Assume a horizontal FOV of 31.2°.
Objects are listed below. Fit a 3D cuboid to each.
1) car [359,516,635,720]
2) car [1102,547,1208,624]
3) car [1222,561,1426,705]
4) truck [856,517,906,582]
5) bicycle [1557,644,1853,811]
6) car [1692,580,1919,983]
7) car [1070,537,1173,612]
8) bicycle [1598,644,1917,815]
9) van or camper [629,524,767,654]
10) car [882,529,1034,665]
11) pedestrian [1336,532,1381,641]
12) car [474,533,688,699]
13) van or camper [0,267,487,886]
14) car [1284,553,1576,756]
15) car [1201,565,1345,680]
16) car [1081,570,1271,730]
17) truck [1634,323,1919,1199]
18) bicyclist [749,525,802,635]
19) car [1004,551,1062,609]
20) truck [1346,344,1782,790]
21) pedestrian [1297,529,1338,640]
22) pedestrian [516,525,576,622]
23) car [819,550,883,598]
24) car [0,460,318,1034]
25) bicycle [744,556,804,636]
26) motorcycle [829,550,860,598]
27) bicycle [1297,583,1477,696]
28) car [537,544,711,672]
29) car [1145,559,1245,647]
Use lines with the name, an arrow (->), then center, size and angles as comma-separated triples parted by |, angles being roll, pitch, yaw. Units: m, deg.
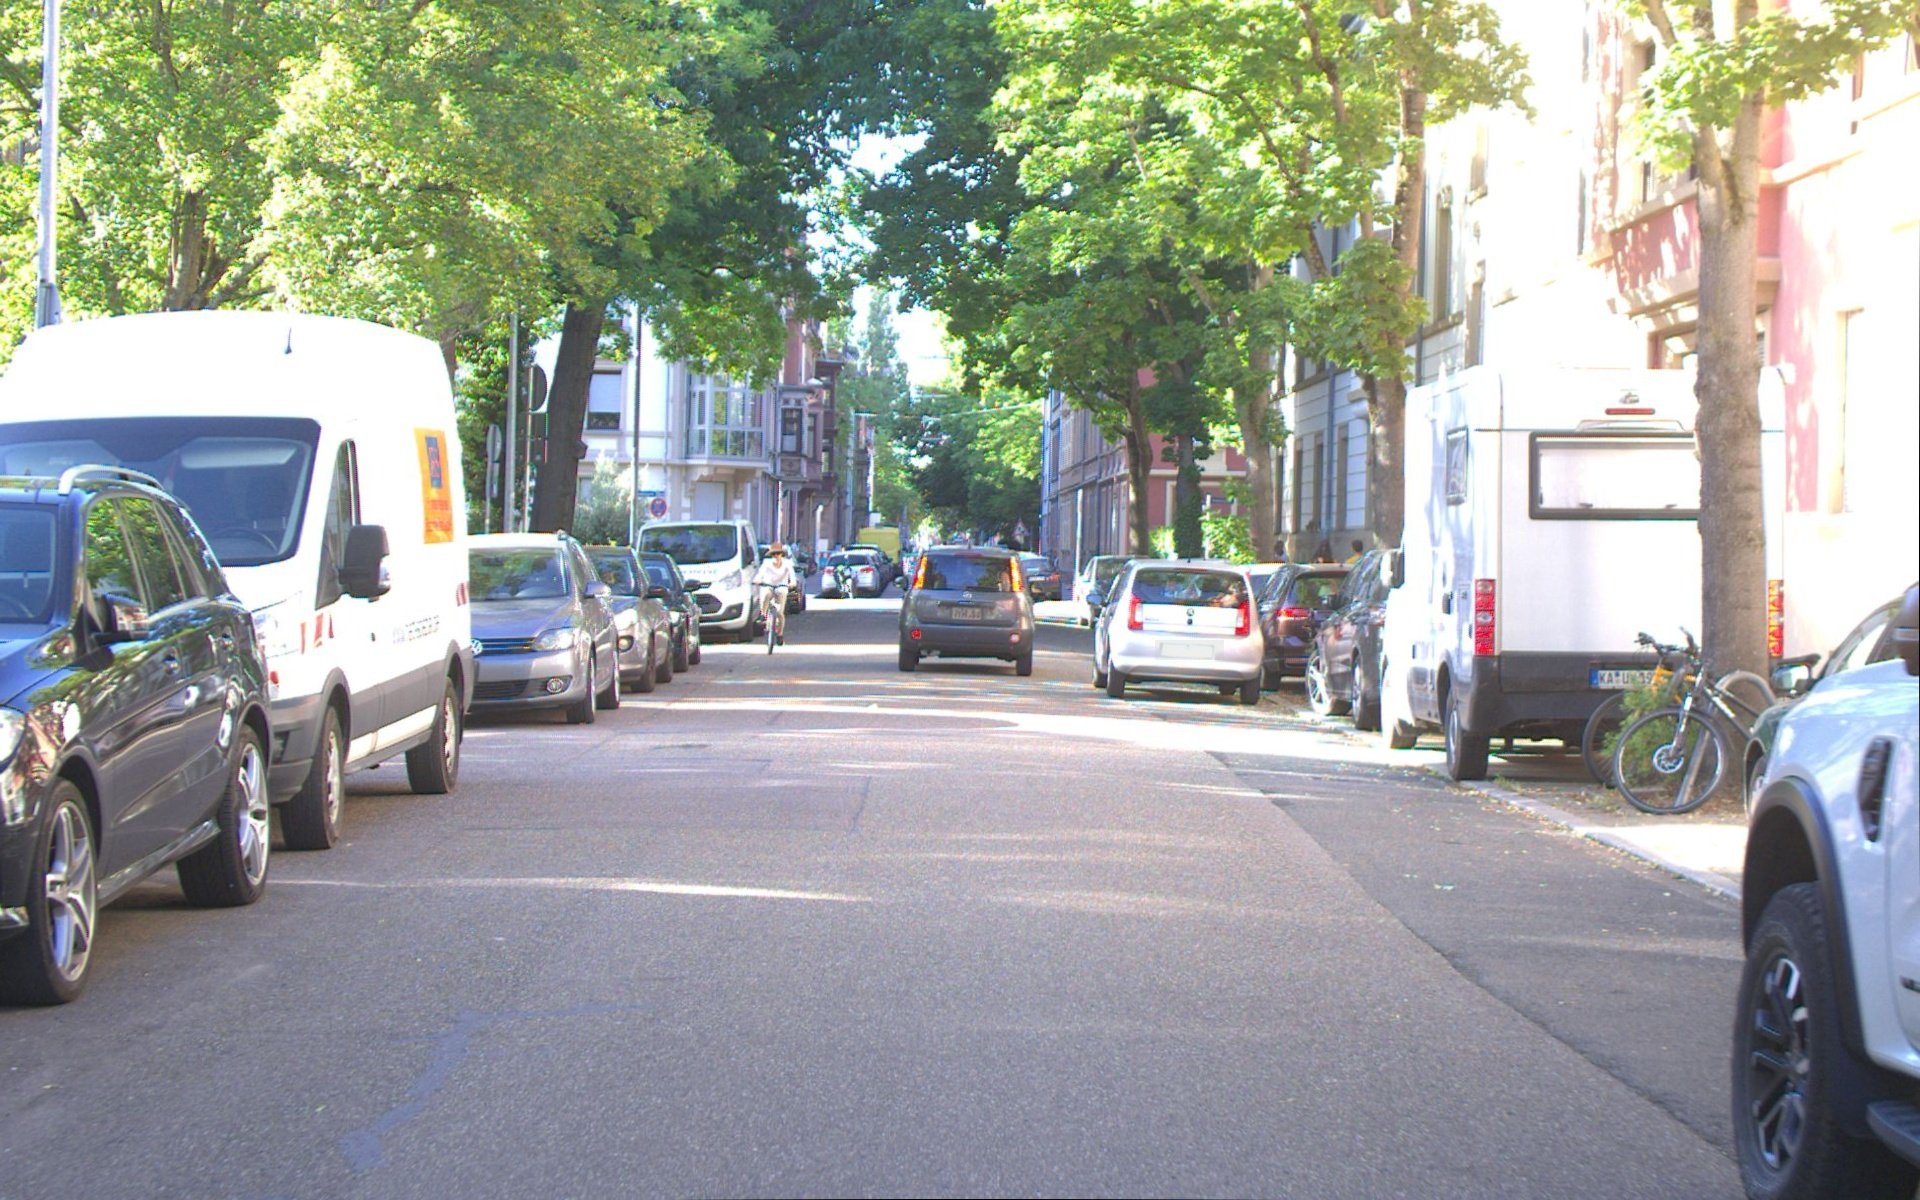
car -> -3.834, 0.105, 29.139 | 1.780, 1.585, 4.469 | 0, 1, -1
car -> 3.954, -0.319, 70.339 | 1.610, 1.473, 3.871 | 2, 1, -5
car -> 4.258, 0.346, 40.836 | 1.786, 1.508, 4.460 | 3, 1, -1
truck -> -3.688, -2.363, 161.243 | 2.070, 2.916, 5.068 | -2, 1, 1
bicycle -> 4.809, 0.818, 22.239 | 1.702, 0.996, 0.707 | 2, 1, -6
car -> 4.626, 0.705, 15.276 | 1.751, 1.524, 4.781 | 1, 1, 1
car -> 3.524, -0.580, 75.786 | 1.788, 1.545, 4.410 | 2, 1, -3
bicycle -> 4.846, 0.782, 20.953 | 1.785, 0.945, 0.579 | 2, 1, 2
van or camper -> -4.223, -0.210, 56.174 | 1.921, 1.973, 5.462 | -1, 1, -1
car -> -0.061, -0.064, 41.919 | 1.632, 1.545, 3.265 | 1, 1, -3
pedestrian -> 6.318, -0.221, 54.476 | 0.595, 1.696, 0.689 | 2, 1, 1
car -> -3.836, 0.116, 35.345 | 1.676, 1.567, 4.151 | -1, 1, 0
van or camper -> -3.966, -0.149, 18.287 | 2.128, 2.759, 5.852 | 0, 1, -1
car -> 4.328, 0.438, 32.433 | 1.885, 1.710, 4.945 | 1, 1, -2
car -> 4.251, 0.280, 47.058 | 1.596, 1.483, 3.748 | 1, 1, 0
car -> 2.307, 0.502, 37.516 | 1.679, 1.539, 3.800 | 3, 1, -1
truck -> 2.653, 0.504, 5.851 | 1.828, 1.942, 5.541 | 2, 1, 0
bicyclist -> -2.572, -0.286, 47.981 | 0.651, 1.503, 0.624 | 2, 1, 2
car -> 2.238, -0.629, 106.167 | 1.663, 1.663, 3.757 | 3, 1, 1
truck -> 4.377, -0.274, 26.011 | 2.073, 2.958, 6.109 | -1, 1, -1
pedestrian -> 5.672, -0.255, 54.560 | 0.520, 1.729, 0.878 | 2, 1, 1
pedestrian -> -6.890, -0.439, 57.230 | 0.881, 1.572, 0.529 | 2, 1, 1
car -> -3.421, -0.832, 108.638 | 1.797, 1.427, 3.925 | -2, 1, 1
car -> -3.709, 0.390, 12.525 | 1.875, 1.680, 4.970 | 0, 1, -1
bicycle -> -2.587, -0.067, 47.948 | 0.665, 1.073, 1.685 | 2, 1, 2
motorcycle -> -3.539, -0.809, 105.340 | 0.696, 1.455, 1.751 | 1, 1, -10
bicycle -> 4.500, 0.413, 36.293 | 1.811, 1.163, 0.569 | 0, 1, -1
car -> -4.011, 0.056, 41.645 | 1.713, 1.390, 4.780 | -2, 1, -1
car -> 4.210, 0.031, 61.890 | 1.520, 1.505, 3.544 | 2, 1, 0
